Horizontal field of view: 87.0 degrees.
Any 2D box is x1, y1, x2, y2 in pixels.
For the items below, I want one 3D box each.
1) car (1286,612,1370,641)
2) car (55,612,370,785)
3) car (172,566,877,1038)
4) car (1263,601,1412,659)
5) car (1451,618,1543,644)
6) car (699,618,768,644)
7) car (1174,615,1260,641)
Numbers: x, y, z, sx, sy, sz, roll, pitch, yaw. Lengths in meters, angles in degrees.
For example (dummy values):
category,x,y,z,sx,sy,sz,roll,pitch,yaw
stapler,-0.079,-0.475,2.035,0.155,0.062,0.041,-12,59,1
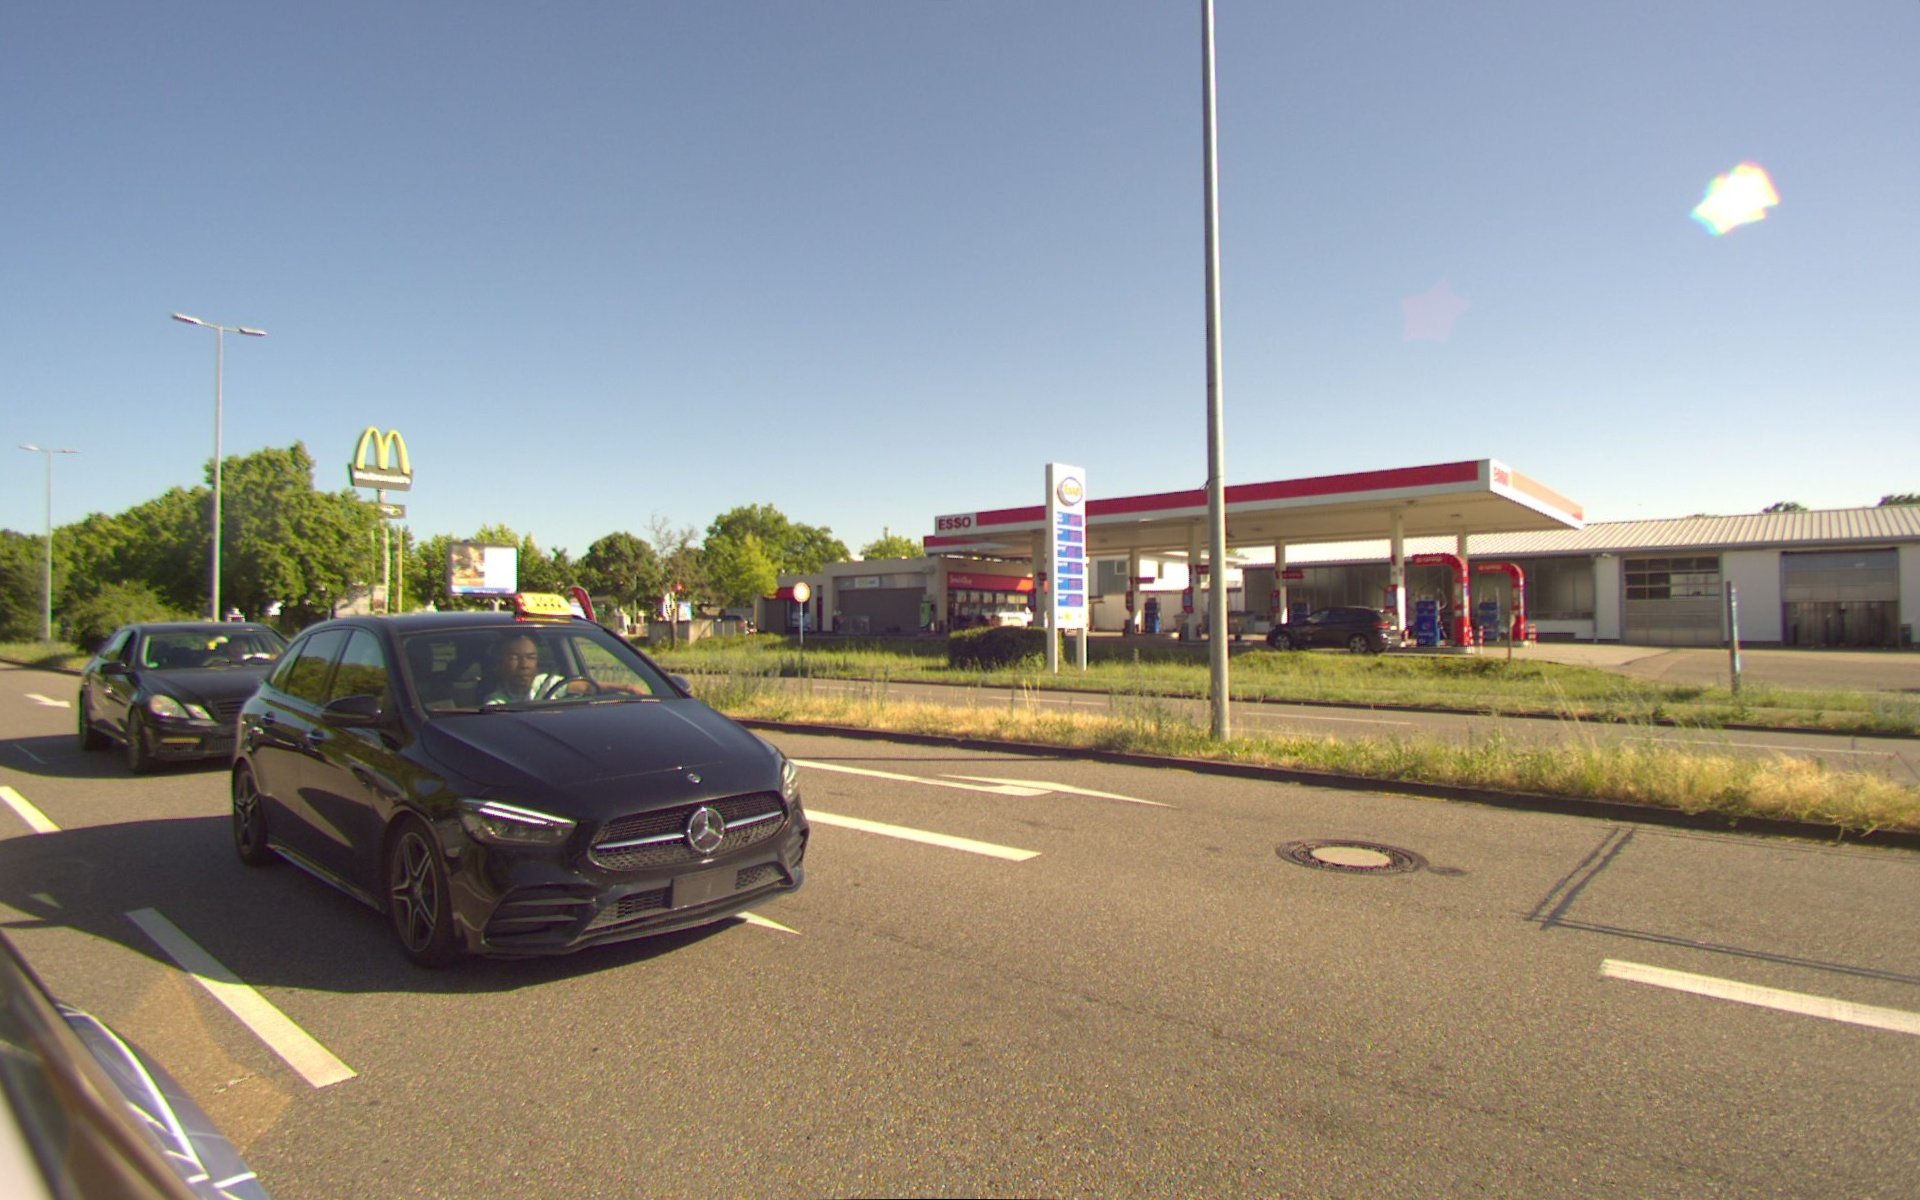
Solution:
category,x,y,z,sx,sy,sz,roll,pitch,yaw
car,19.969,1.400,54.940,3.855,1.500,1.973,-1,0,41
car,-8.485,0.915,11.335,4.461,1.521,1.928,-1,0,41
car,-2.709,0.740,5.636,4.579,1.614,1.765,-2,-1,40
car,12.686,0.995,34.157,4.322,1.739,1.783,-1,2,43
car,26.210,1.483,49.439,3.729,1.196,1.658,-1,0,41
car,-13.138,1.796,58.620,3.998,1.416,1.973,-2,-2,41
car,15.127,1.625,59.792,4.540,1.477,1.973,-1,0,41
